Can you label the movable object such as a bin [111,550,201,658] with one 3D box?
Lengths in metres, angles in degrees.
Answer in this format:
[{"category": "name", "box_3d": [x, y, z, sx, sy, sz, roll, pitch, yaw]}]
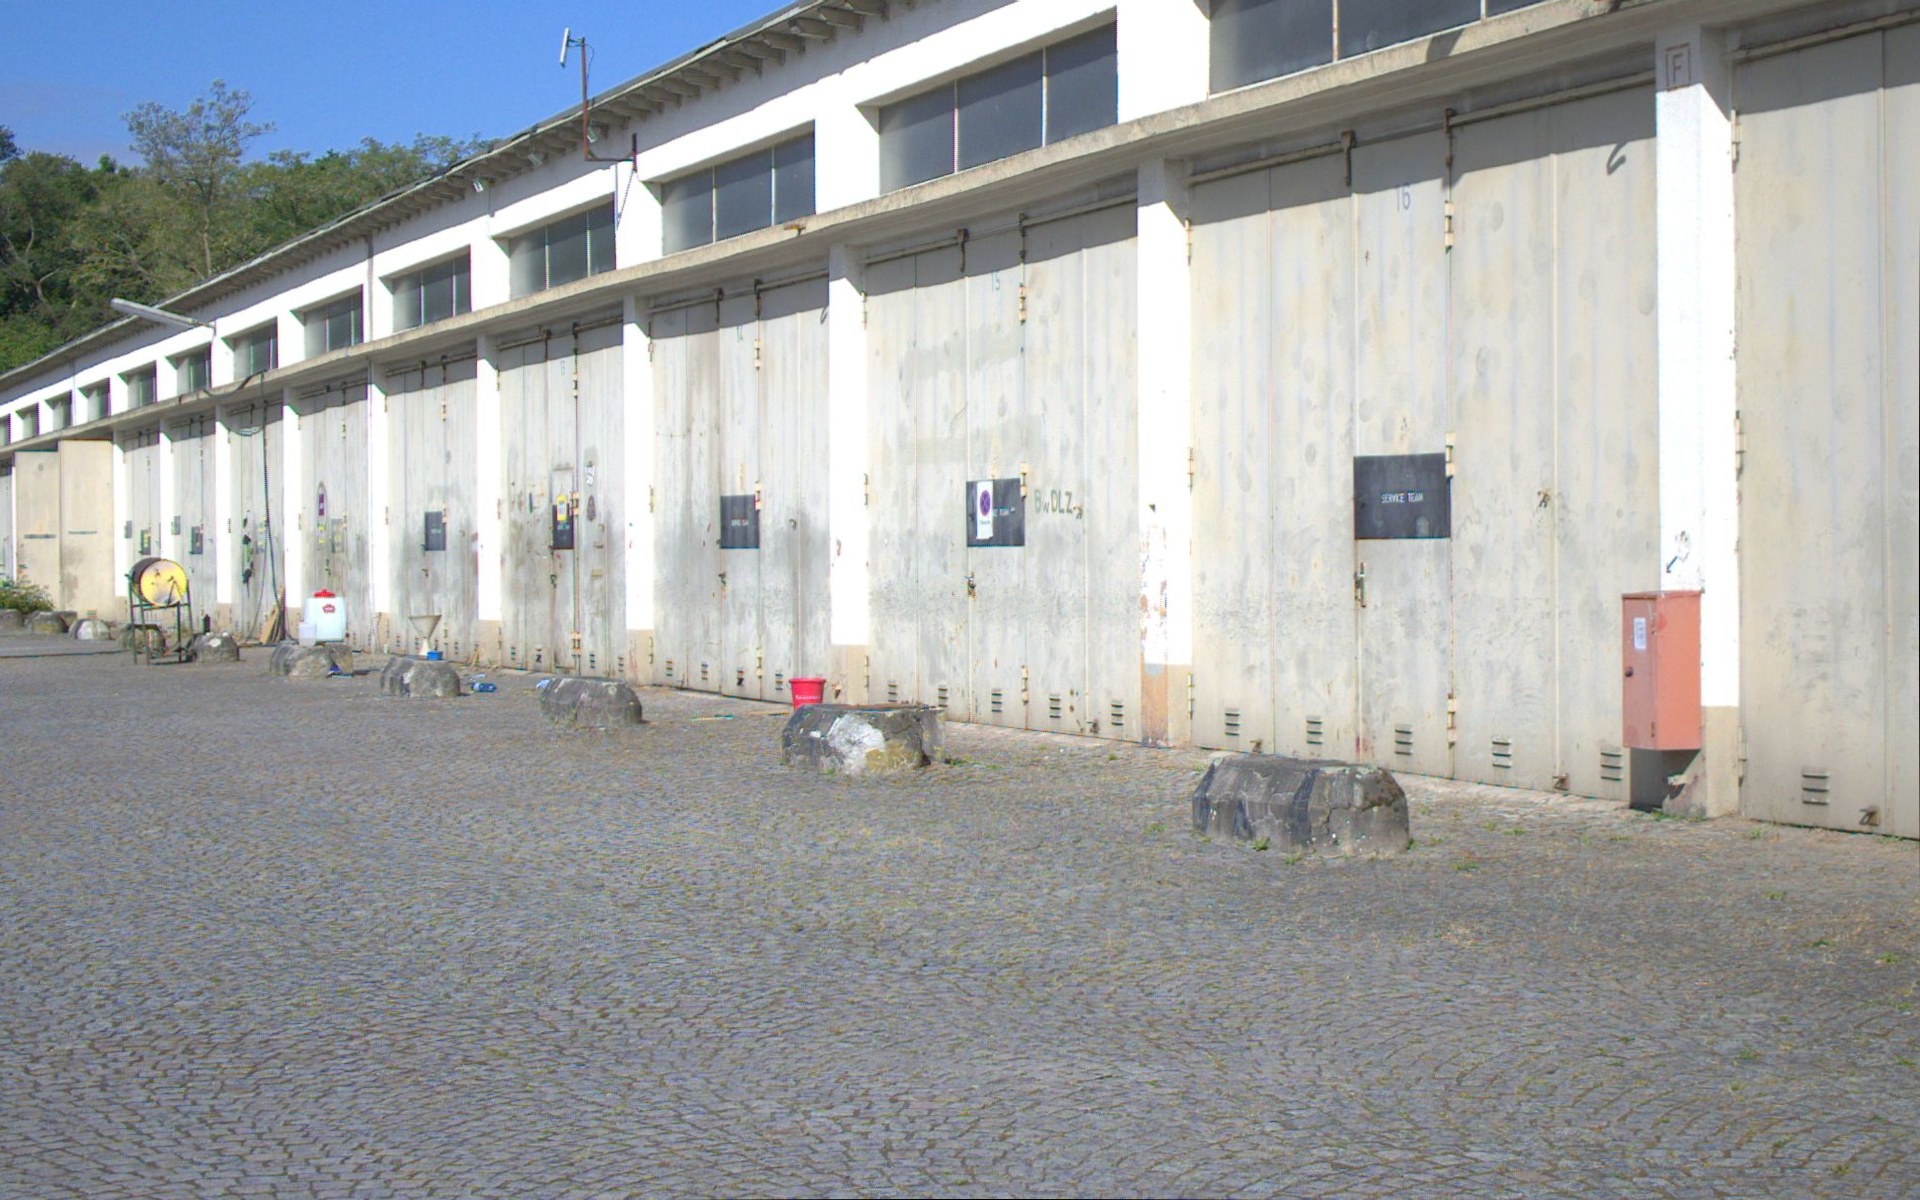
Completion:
[{"category": "movable object such as a bin", "box_3d": [-10.119, 0.036, 43.261, 0.823, 1.327, 1.280, -1, 1, -26]}]
